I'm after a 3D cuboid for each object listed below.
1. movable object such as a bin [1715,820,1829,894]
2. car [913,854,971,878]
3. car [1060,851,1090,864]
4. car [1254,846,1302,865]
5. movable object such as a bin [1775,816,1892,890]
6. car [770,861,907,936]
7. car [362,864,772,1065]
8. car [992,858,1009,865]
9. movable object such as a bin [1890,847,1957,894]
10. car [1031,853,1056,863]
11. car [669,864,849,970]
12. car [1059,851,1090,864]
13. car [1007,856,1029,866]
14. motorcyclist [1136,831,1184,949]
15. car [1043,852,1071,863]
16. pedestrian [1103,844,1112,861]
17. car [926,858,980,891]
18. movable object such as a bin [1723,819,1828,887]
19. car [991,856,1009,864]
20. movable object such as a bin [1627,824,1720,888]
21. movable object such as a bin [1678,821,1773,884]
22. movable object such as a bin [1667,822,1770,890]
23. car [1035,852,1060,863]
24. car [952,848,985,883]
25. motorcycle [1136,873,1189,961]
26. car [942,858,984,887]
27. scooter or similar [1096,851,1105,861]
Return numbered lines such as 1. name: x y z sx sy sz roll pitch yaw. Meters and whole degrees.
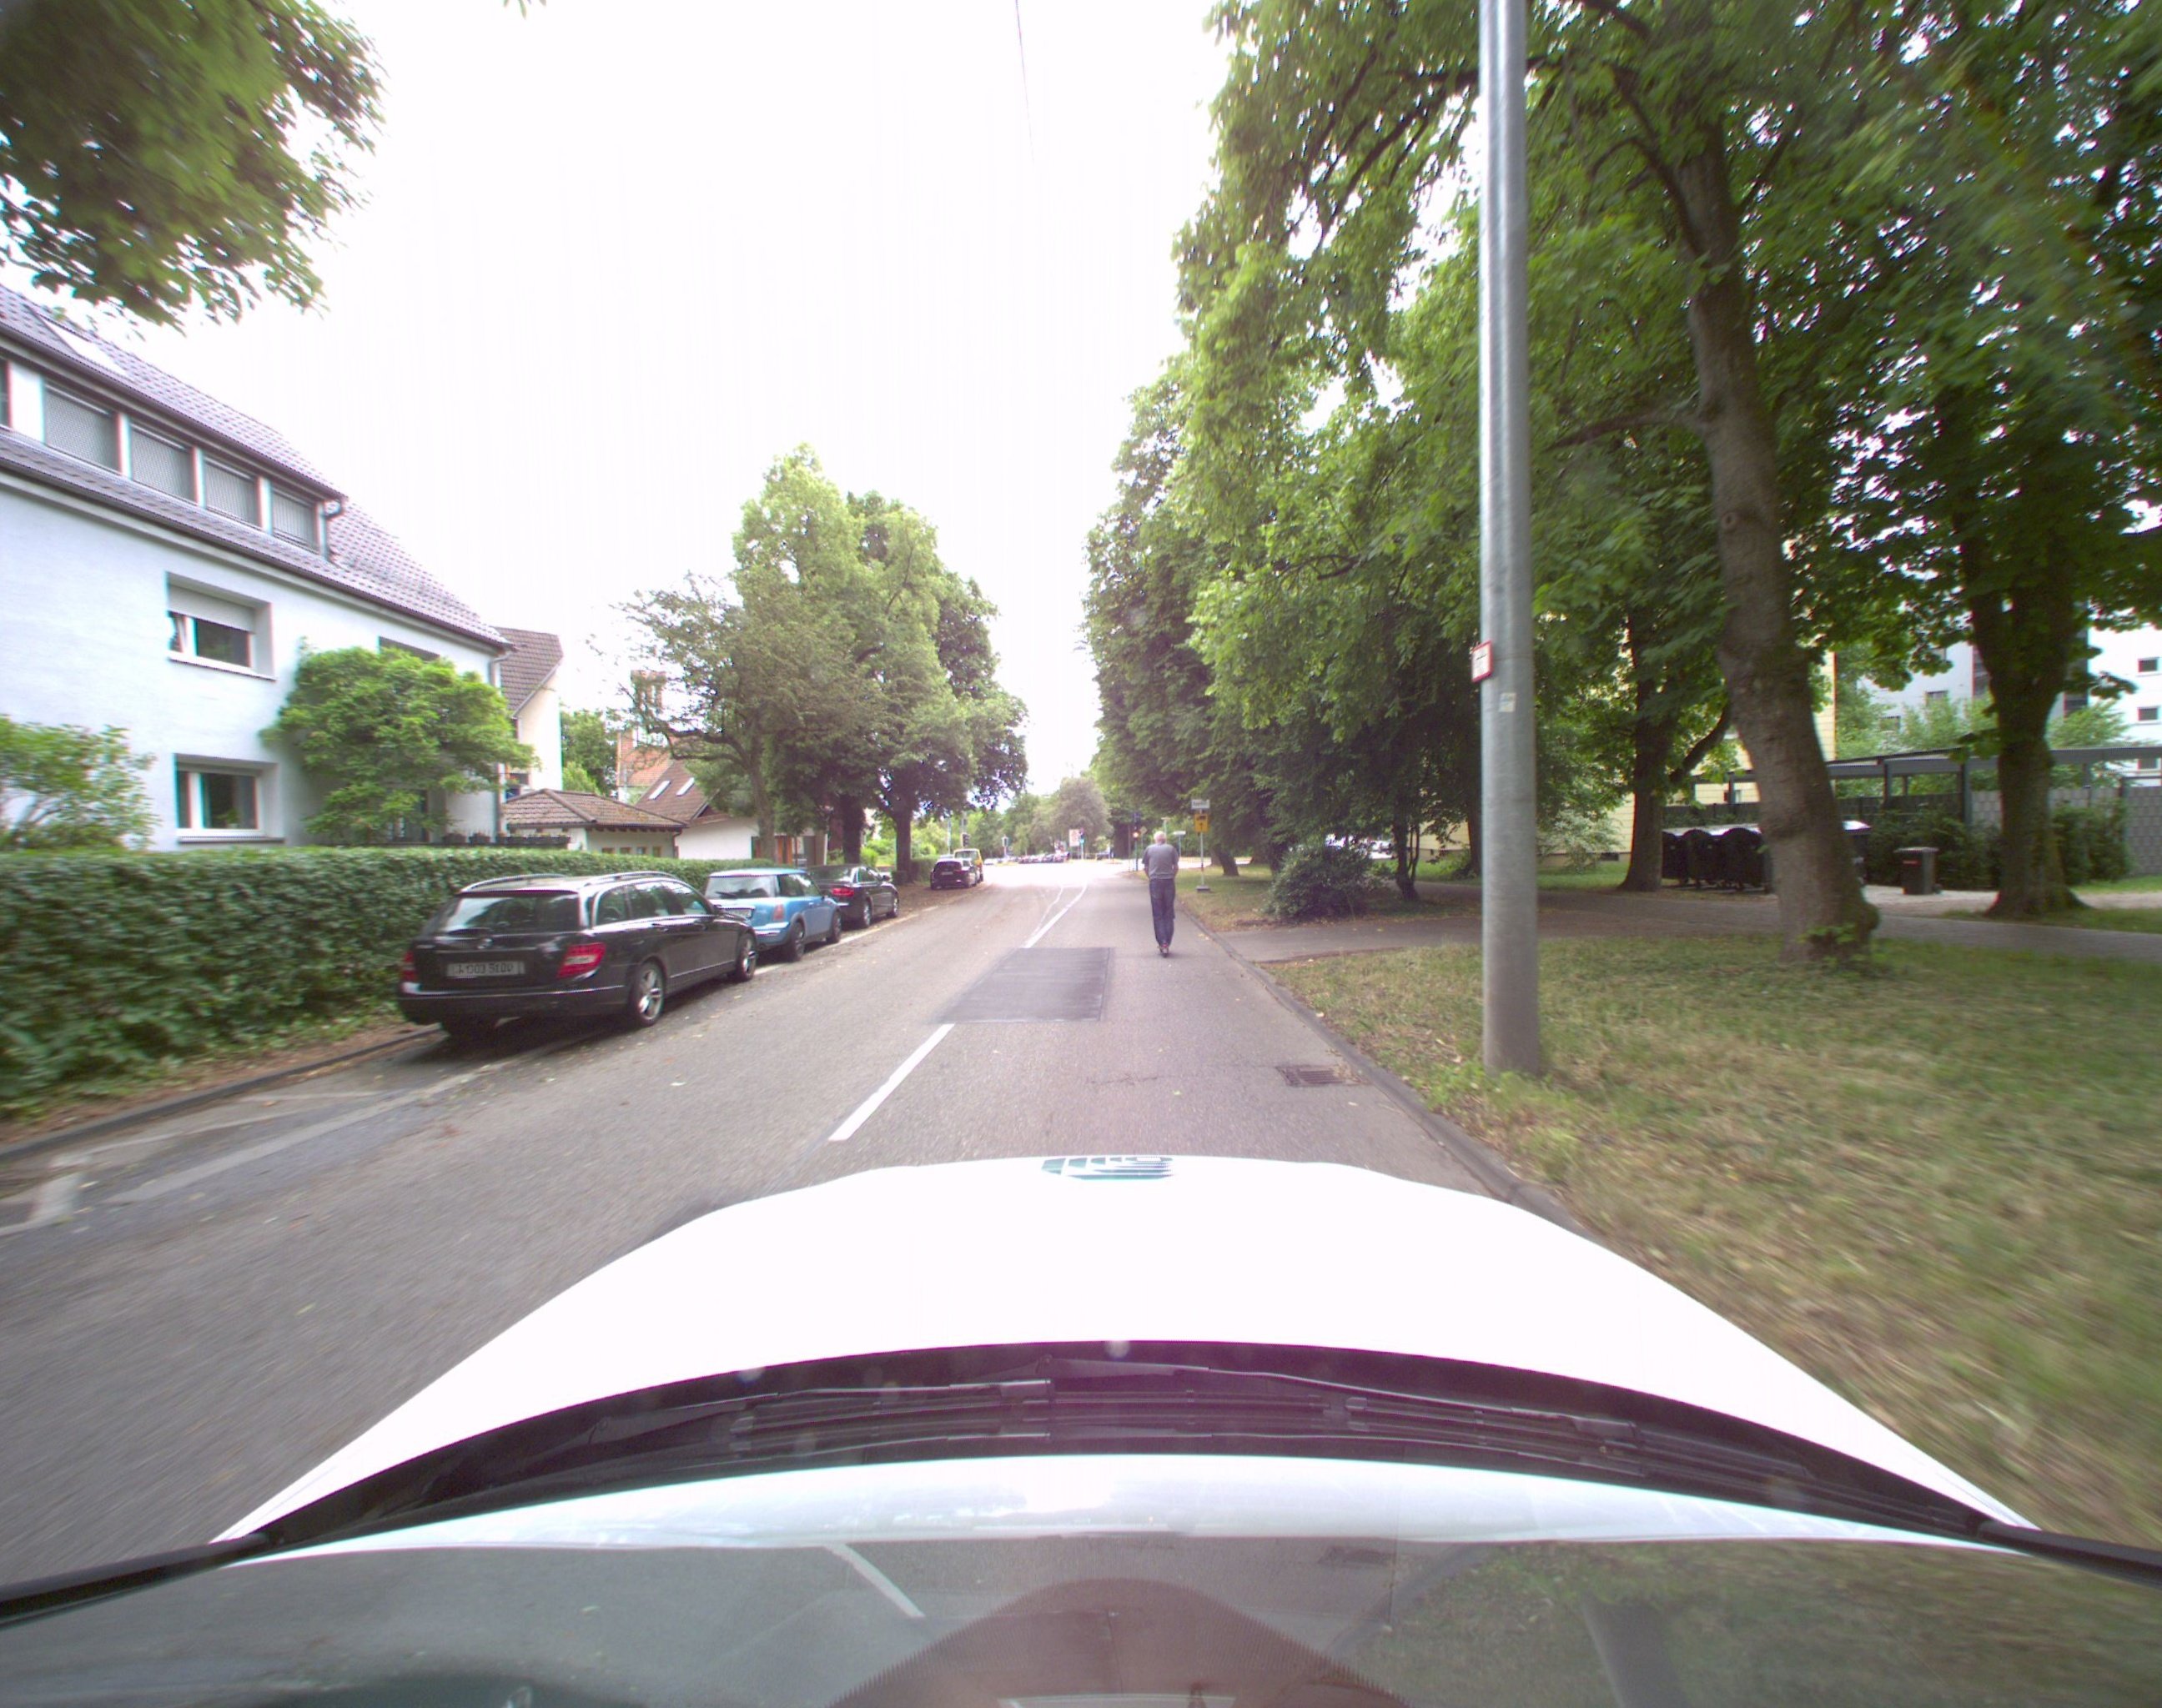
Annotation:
1. movable object such as a bin: 15.111 0.057 17.855 1.324 1.501 1.312 -3 0 -4
2. car: -9.935 0.831 58.631 3.984 1.510 1.796 -2 2 -8
3. car: -0.842 0.442 110.370 3.980 1.510 1.797 -2 0 -5
4. car: 16.999 0.123 70.381 3.962 1.557 1.806 0 3 10
5. movable object such as a bin: 16.549 -0.019 17.955 1.324 1.501 1.312 -3 0 -4
6. car: -5.469 0.931 19.048 1.789 1.410 4.643 -2 0 -1
7. car: -4.977 0.913 8.797 1.791 1.472 4.412 -2 0 -4
8. car: -19.483 1.743 198.067 3.980 1.510 1.797 -2 0 -5
9. movable object such as a bin: 16.586 0.308 16.050 0.597 0.878 0.668 -3 0 -4
10. car: -6.215 0.596 133.176 3.980 1.510 1.797 -2 0 -5
11. car: -5.150 0.928 13.553 1.661 1.391 3.702 -2 0 -4
12. car: -0.876 0.450 106.789 3.980 1.510 1.797 -2 0 -5
13. car: -11.405 1.280 147.393 3.980 1.510 1.797 -2 0 -5
14. motorcyclist: 1.204 0.542 12.564 0.671 1.761 0.638 0 0 -1
15. car: -3.538 0.533 120.662 3.980 1.510 1.797 -2 0 -5
16. pedestrian: 2.824 -0.190 87.689 0.726 1.762 0.665 -2 -1 17
17. car: -6.125 0.960 39.502 1.886 1.410 4.551 -2 0 -1
18. movable object such as a bin: 16.455 -0.029 19.351 1.324 1.501 1.312 -3 0 -4
19. car: -18.615 1.347 186.413 3.980 1.510 1.797 -2 0 -5
20. movable object such as a bin: 14.914 0.040 20.557 1.324 1.501 1.312 -3 0 -4
21. movable object such as a bin: 16.350 -0.040 20.706 1.324 1.501 1.312 -3 0 -4
22. movable object such as a bin: 15.006 0.040 19.217 1.324 1.501 1.312 -3 0 -4
23. car: -5.434 0.569 131.309 3.980 1.510 1.797 -2 0 -5
24. car: -6.896 0.708 50.414 1.856 1.964 4.493 -2 0 -7
25. motorcycle: 1.214 0.922 12.315 0.670 1.217 1.273 0 0 0
26. car: -6.450 0.962 44.784 1.790 1.416 4.185 -2 0 -3
27. scooter or similar: 2.104 0.193 87.946 0.704 1.049 0.791 -2 0 17
